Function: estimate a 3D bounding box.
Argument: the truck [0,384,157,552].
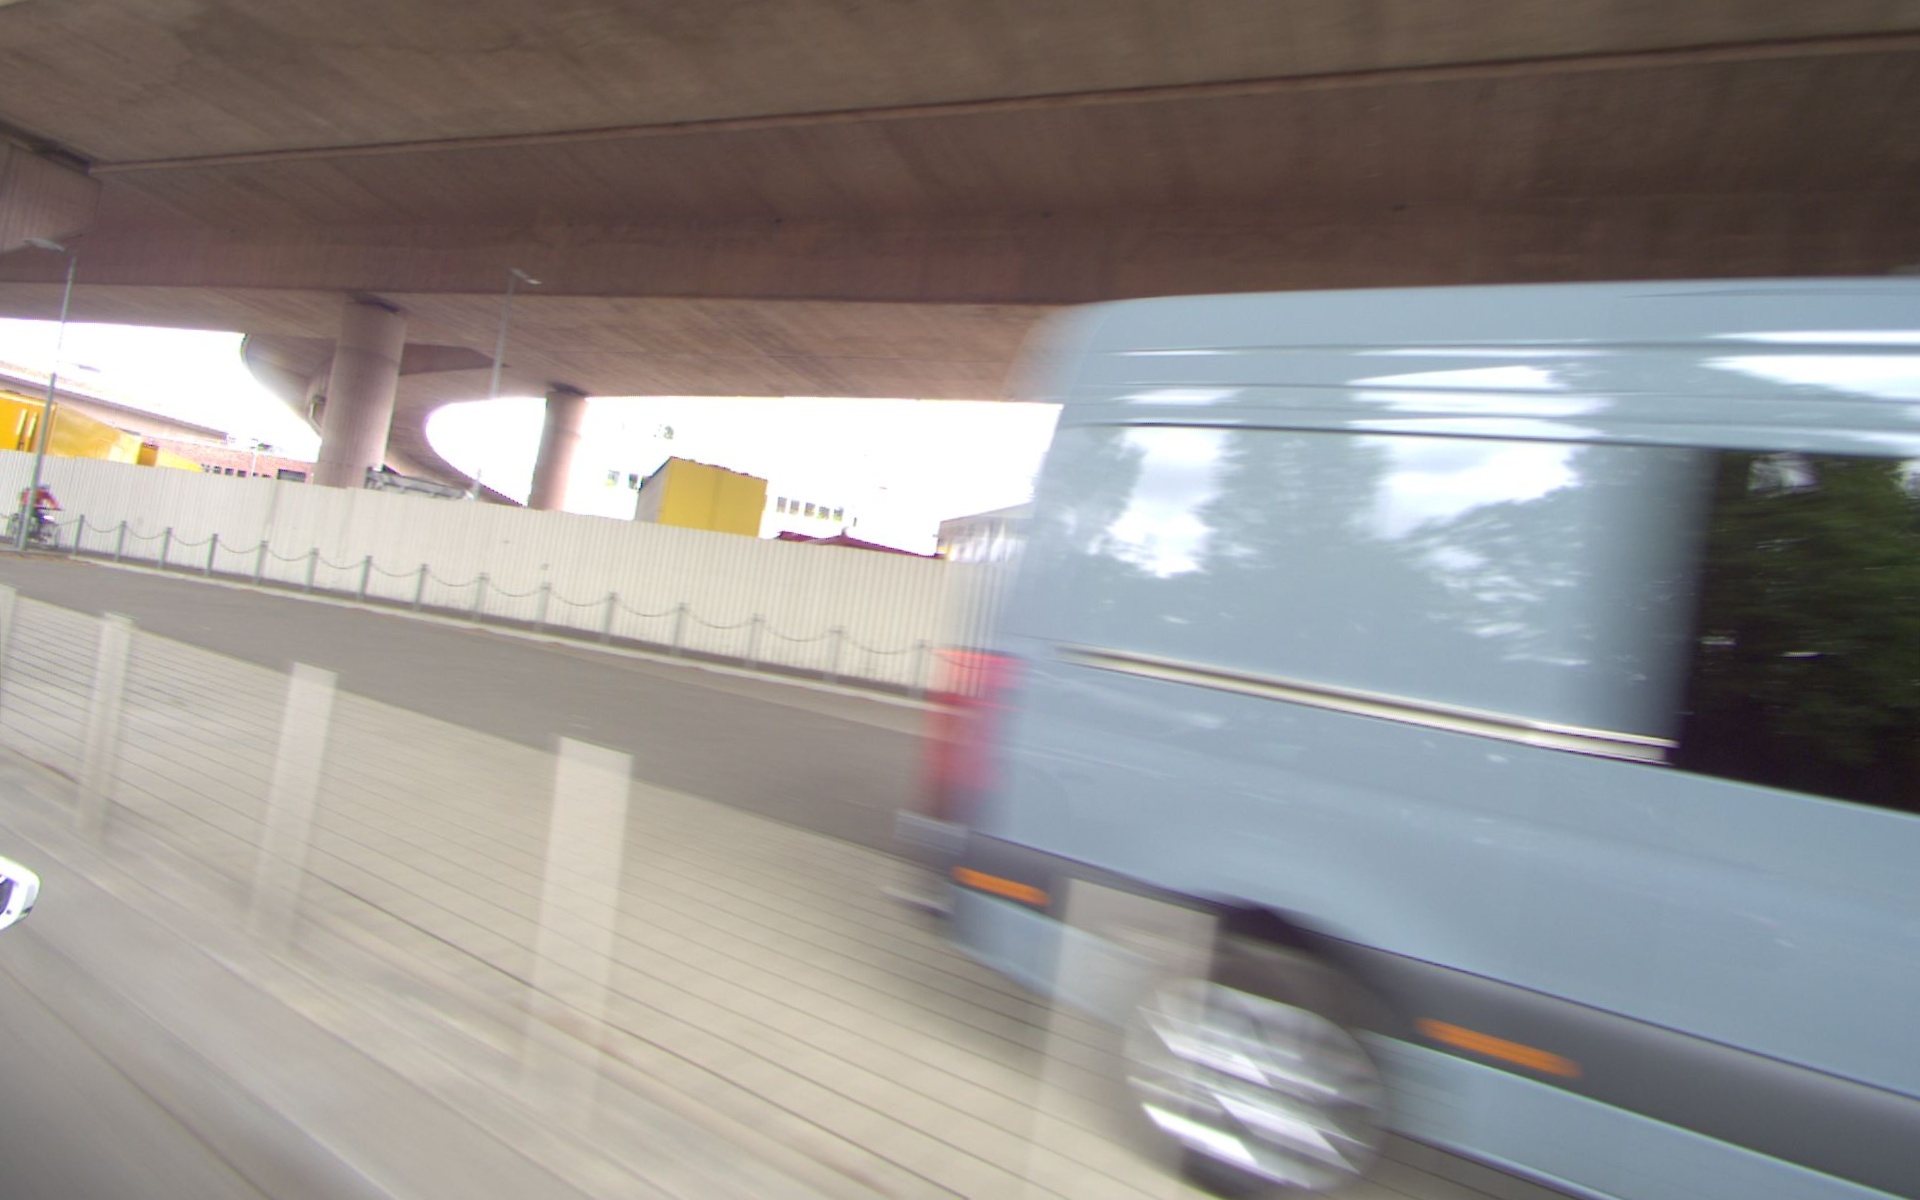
[{"bbox_3d":[-33.193,-4.626,36.763,3.109,4.971,8.674,10,-3,-23],"label":"truck"}]

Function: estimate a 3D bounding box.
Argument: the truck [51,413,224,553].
[{"bbox_3d":[-36.826,-4.969,45.538,3.109,4.957,8.674,10,-3,-23],"label":"truck"}]

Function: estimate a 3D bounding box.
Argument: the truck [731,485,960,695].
[{"bbox_3d":[-3.511,-0.309,26.811,2.862,4.232,10.013,8,-1,-23],"label":"truck"}]

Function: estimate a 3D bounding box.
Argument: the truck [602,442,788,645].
[{"bbox_3d":[-8.011,-1.487,29.117,3.109,4.494,9.670,8,-1,-24],"label":"truck"}]

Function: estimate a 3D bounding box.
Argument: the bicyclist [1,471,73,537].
[{"bbox_3d":[-22.937,-2.370,25.005,1.046,1.422,0.799,8,0,19],"label":"bicyclist"}]

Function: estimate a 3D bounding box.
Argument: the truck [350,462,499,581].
[{"bbox_3d":[-17.272,-2.436,33.093,3.105,2.981,8.671,7,0,-22],"label":"truck"}]

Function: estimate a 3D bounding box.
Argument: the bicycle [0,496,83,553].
[{"bbox_3d":[-23.017,-1.895,25.011,2.091,1.110,0.805,8,-1,19],"label":"bicycle"}]

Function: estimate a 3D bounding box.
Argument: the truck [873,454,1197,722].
[{"bbox_3d":[1.241,-0.310,24.772,3.110,4.980,9.670,9,-1,-24],"label":"truck"}]

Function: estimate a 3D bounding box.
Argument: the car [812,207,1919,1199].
[{"bbox_3d":[2.746,0.618,2.819,5.969,2.643,1.999,8,-1,29],"label":"car"}]

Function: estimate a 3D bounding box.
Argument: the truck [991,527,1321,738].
[{"bbox_3d":[4.473,0.603,26.236,2.780,4.206,9.874,9,-2,-24],"label":"truck"}]
